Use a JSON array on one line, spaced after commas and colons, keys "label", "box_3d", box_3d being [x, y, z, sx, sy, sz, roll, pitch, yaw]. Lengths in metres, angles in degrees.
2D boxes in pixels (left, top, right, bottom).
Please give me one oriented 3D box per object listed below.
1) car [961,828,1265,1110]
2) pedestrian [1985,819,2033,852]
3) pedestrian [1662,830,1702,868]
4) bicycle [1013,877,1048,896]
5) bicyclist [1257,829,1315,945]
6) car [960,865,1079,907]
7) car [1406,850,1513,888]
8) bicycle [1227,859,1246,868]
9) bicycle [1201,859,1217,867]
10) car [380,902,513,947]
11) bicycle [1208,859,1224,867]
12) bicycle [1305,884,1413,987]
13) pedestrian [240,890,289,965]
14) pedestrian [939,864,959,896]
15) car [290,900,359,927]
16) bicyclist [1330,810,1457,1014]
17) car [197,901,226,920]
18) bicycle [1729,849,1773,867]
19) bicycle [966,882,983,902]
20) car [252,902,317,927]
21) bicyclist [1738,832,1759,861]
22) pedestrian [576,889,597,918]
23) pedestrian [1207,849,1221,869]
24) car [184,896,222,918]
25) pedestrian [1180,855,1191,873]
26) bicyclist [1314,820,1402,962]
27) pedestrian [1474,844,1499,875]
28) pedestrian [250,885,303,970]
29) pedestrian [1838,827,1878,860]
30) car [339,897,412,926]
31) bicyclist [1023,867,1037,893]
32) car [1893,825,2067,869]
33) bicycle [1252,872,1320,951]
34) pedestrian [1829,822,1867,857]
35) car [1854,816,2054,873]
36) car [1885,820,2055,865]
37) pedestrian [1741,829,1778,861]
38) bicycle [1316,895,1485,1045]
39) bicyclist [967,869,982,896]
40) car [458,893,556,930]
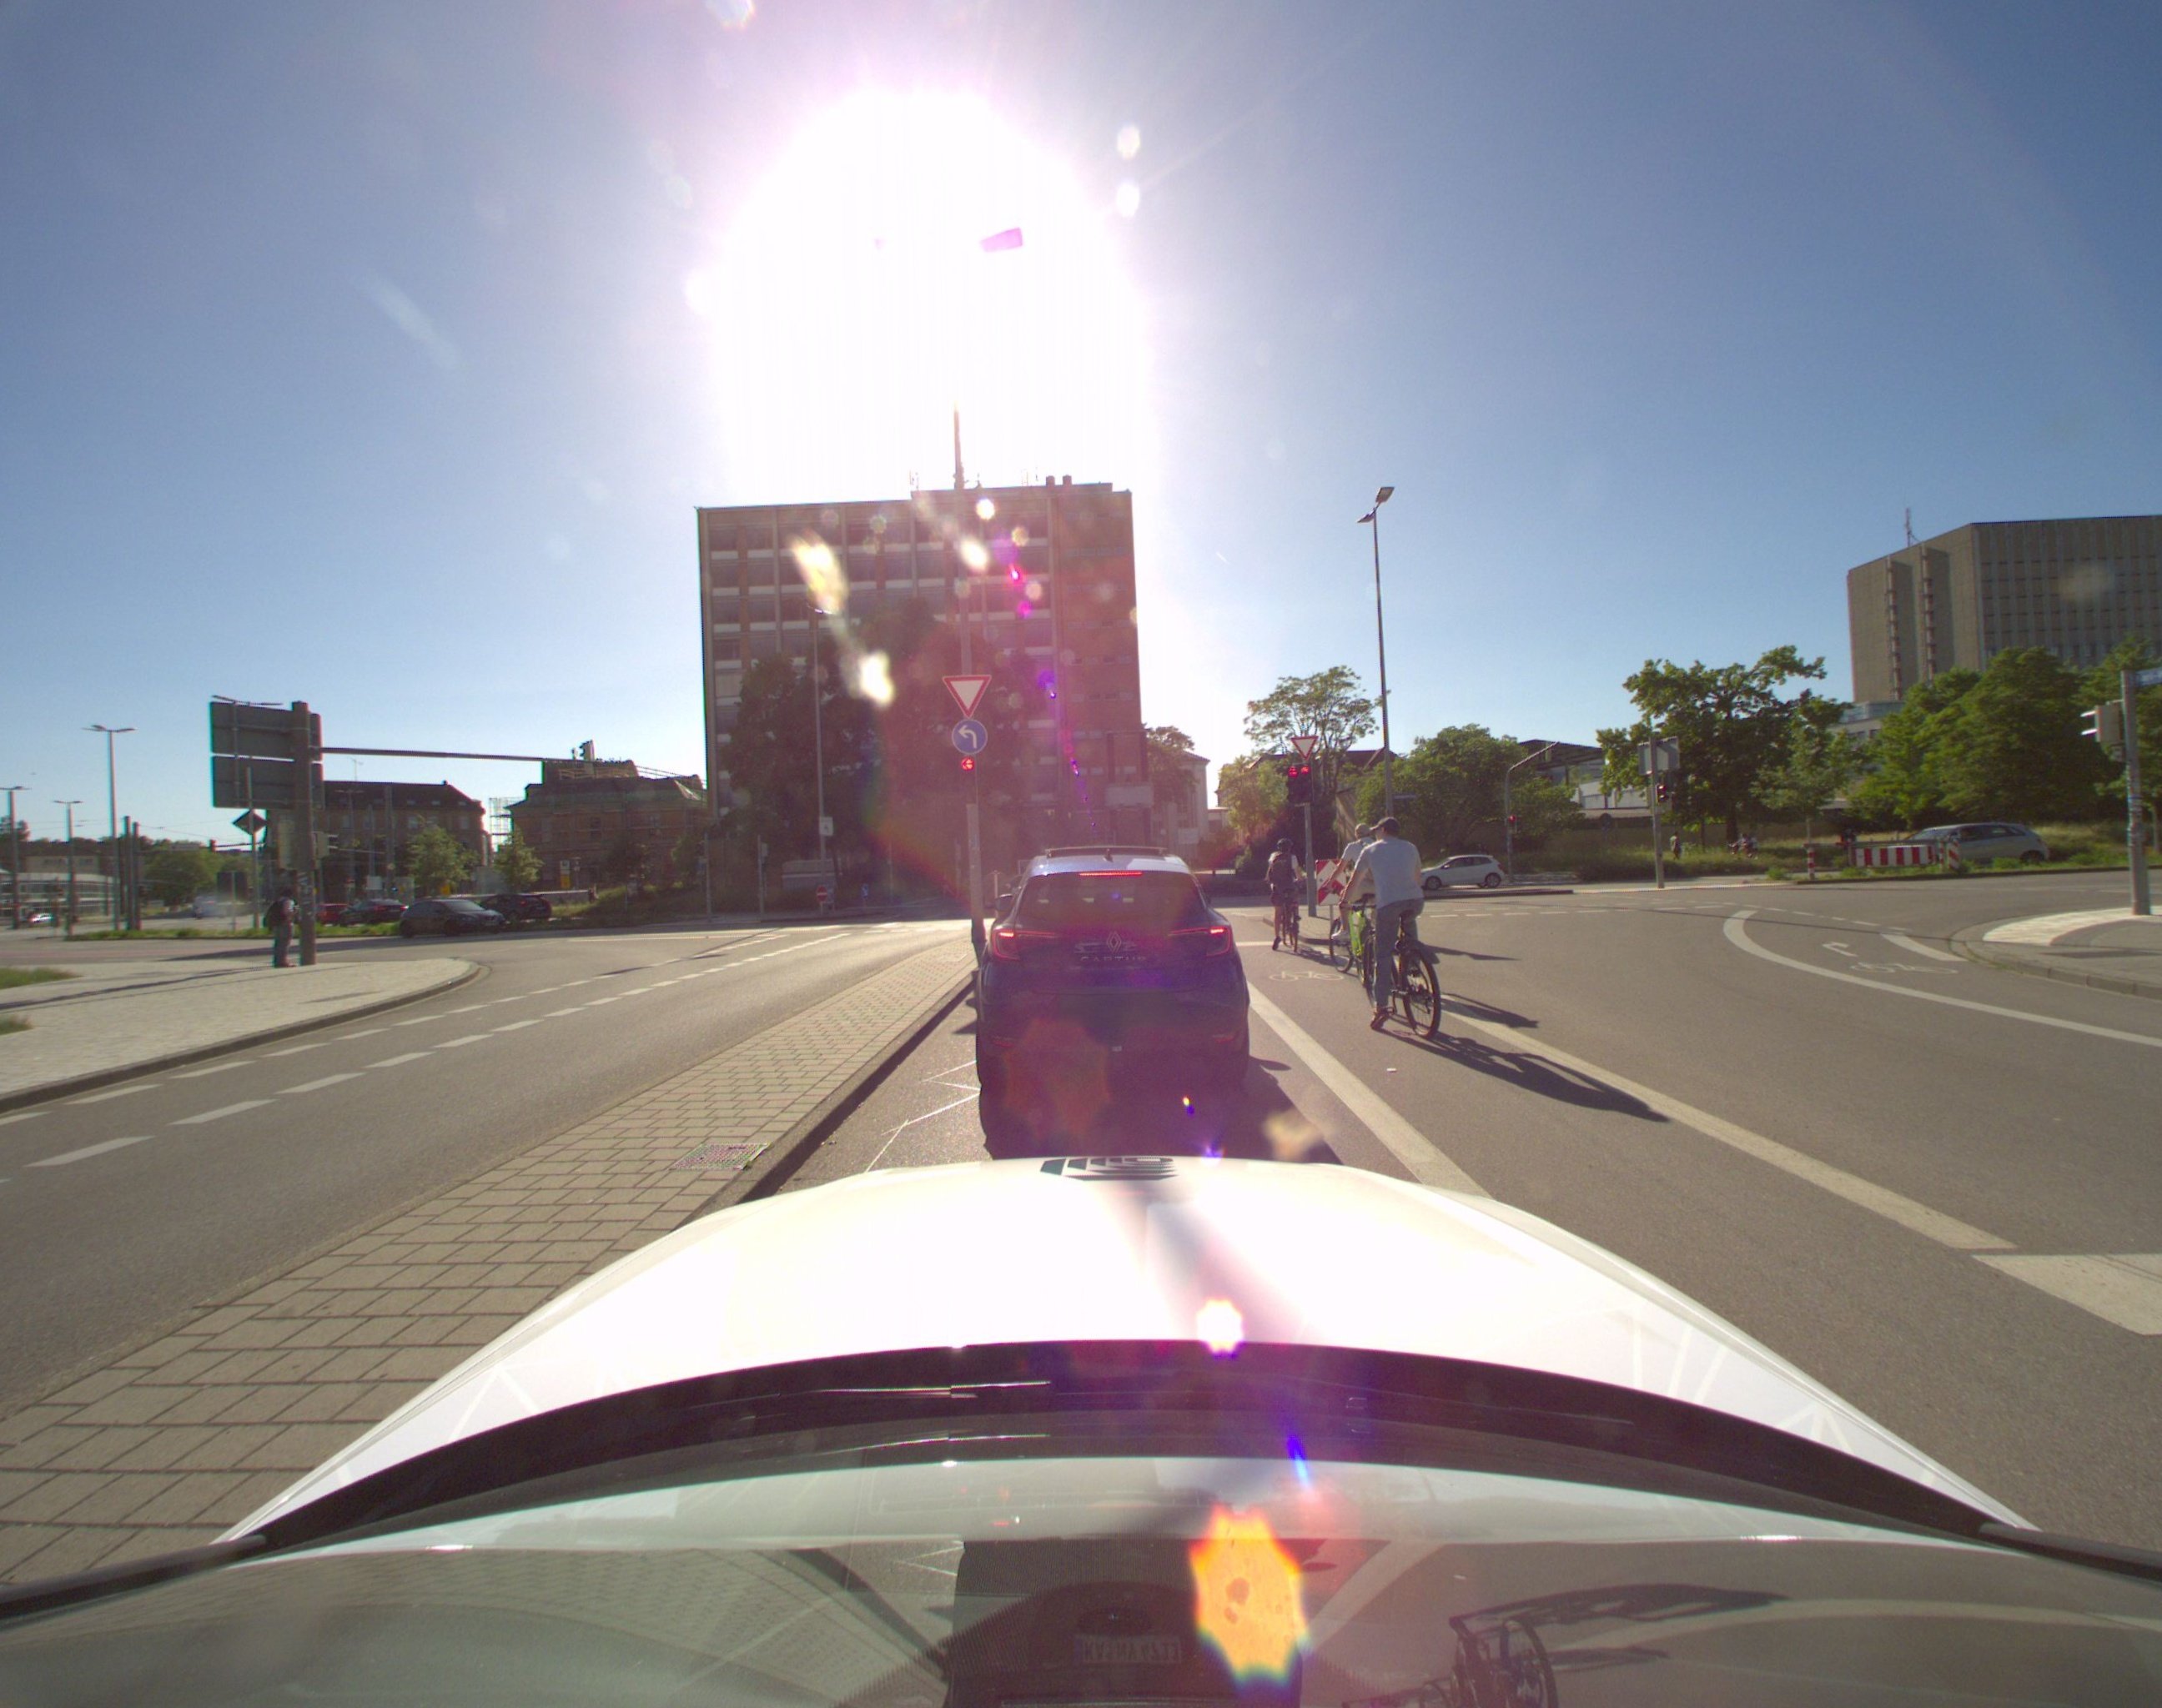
[{"label": "car", "box_3d": [0.222, 0.682, 6.772, 1.788, 1.655, 3.853, -1, 0, 1]}, {"label": "pedestrian", "box_3d": [44.853, -0.883, 39.379, 1.123, 1.521, 0.992, -2, -1, 5]}, {"label": "pedestrian", "box_3d": [30.281, -0.245, 41.077, 1.288, 1.855, 0.969, -3, -1, 13]}, {"label": "bicycle", "box_3d": [-2.824, 1.818, 45.918, 1.855, 0.958, 0.625, -2, -1, 7]}, {"label": "bicyclist", "box_3d": [3.266, 0.520, 13.060, 0.674, 1.785, 0.939, -1, -1, 0]}, {"label": "car", "box_3d": [-2.652, 1.404, 35.749, 4.835, 1.593, 1.943, -2, -1, 8]}, {"label": "car", "box_3d": [16.522, 0.683, 35.758, 3.927, 1.491, 1.817, -3, -2, 12]}, {"label": "bicycle", "box_3d": [15.810, 0.949, 82.839, 1.770, 0.823, 0.763, -2, -1, -9]}, {"label": "bicycle", "box_3d": [15.557, 1.113, 99.021, 1.764, 0.893, 0.766, -2, -1, 2]}, {"label": "car", "box_3d": [-24.788, 2.746, 31.872, 3.959, 1.389, 2.007, -4, -1, 13]}, {"label": "bicycle", "box_3d": [15.702, 1.059, 94.651, 1.764, 0.898, 0.766, -2, -1, 2]}, {"label": "bicycle", "box_3d": [3.256, 0.909, 9.721, 0.669, 1.050, 1.844, 0, 0, 1]}, {"label": "pedestrian", "box_3d": [-19.219, 1.725, 19.174, 0.627, 1.697, 0.608, -3, -1, 25]}, {"label": "pedestrian", "box_3d": [-8.016, 1.568, 49.502, 0.926, 1.855, 0.809, -3, -1, 11]}, {"label": "car", "box_3d": [-47.961, 3.775, 51.648, 3.771, 1.518, 2.012, -3, -1, 27]}, {"label": "bicyclist", "box_3d": [2.749, 0.486, 7.254, 0.737, 1.674, 0.865, -2, -1, 0]}, {"label": "car", "box_3d": [-100.605, 6.480, 94.190, 4.951, 2.013, 2.085, -3, -1, 41]}, {"label": "bicycle", "box_3d": [32.094, 0.184, 39.023, 1.483, 0.777, 0.571, -3, -1, 12]}, {"label": "bicycle", "box_3d": [-5.766, 2.055, 44.119, 0.699, 1.007, 1.859, -3, -3, -13]}, {"label": "car", "box_3d": [-53.580, 4.083, 54.763, 3.771, 1.518, 2.012, -3, -1, 27]}, {"label": "bicyclist", "box_3d": [31.996, -0.371, 39.049, 0.517, 1.368, 0.578, -2, -1, 12]}, {"label": "pedestrian", "box_3d": [-36.523, 3.647, 60.139, 0.816, 2.013, 1.021, -3, -1, 25]}, {"label": "pedestrian", "box_3d": [13.726, 0.496, 84.195, 1.152, 2.013, 1.165, -2, -1, 2]}, {"label": "car", "box_3d": [-112.631, 6.738, 104.520, 6.871, 2.547, 3.031, -3, -1, 45]}, {"label": "pedestrian", "box_3d": [12.033, 1.102, 93.389, 1.144, 2.013, 0.954, -2, -1, 8]}, {"label": "bicyclist", "box_3d": [3.255, 0.415, 9.656, 0.672, 1.583, 1.081, 0, 0, 1]}, {"label": "pedestrian", "box_3d": [21.277, 0.292, 42.753, 0.974, 1.604, 0.830, -3, -1, 15]}, {"label": "pedestrian", "box_3d": [-18.195, 1.652, 18.426, 0.673, 1.855, 0.608, -3, -1, 25]}, {"label": "pedestrian", "box_3d": [38.079, -0.503, 39.927, 1.069, 1.521, 0.880, -2, -1, 6]}, {"label": "car", "box_3d": [-42.387, 3.448, 48.914, 3.771, 1.518, 2.012, -3, -1, 27]}, {"label": "bicyclist", "box_3d": [-2.882, 1.442, 45.907, 0.633, 1.412, 0.650, -2, -1, 7]}, {"label": "car", "box_3d": [33.503, -0.226, 30.481, 3.974, 1.361, 2.004, -3, -2, 7]}, {"label": "bicycle", "box_3d": [3.271, 0.878, 13.126, 0.613, 1.138, 1.826, -2, 0, 0]}, {"label": "pedestrian", "box_3d": [38.773, -0.727, 41.183, 0.958, 1.732, 0.928, -2, -1, 8]}, {"label": "car", "box_3d": [28.008, -0.282, 26.263, 4.103, 1.606, 1.915, -2, 0, 7]}, {"label": "car", "box_3d": [36.533, -0.473, 33.584, 4.479, 1.606, 2.004, -2, 0, 7]}, {"label": "pedestrian", "box_3d": [33.901, -0.459, 40.692, 1.078, 1.521, 0.933, -2, -1, 11]}, {"label": "bicycle", "box_3d": [2.767, 0.950, 7.299, 0.745, 1.050, 1.903, -3, 0, 1]}, {"label": "bicyclist", "box_3d": [-5.770, 1.553, 44.086, 0.648, 1.412, 0.635, -2, -3, -14]}, {"label": "car", "box_3d": [-28.522, 2.851, 40.501, 3.957, 1.570, 1.843, -3, -1, 16]}]
